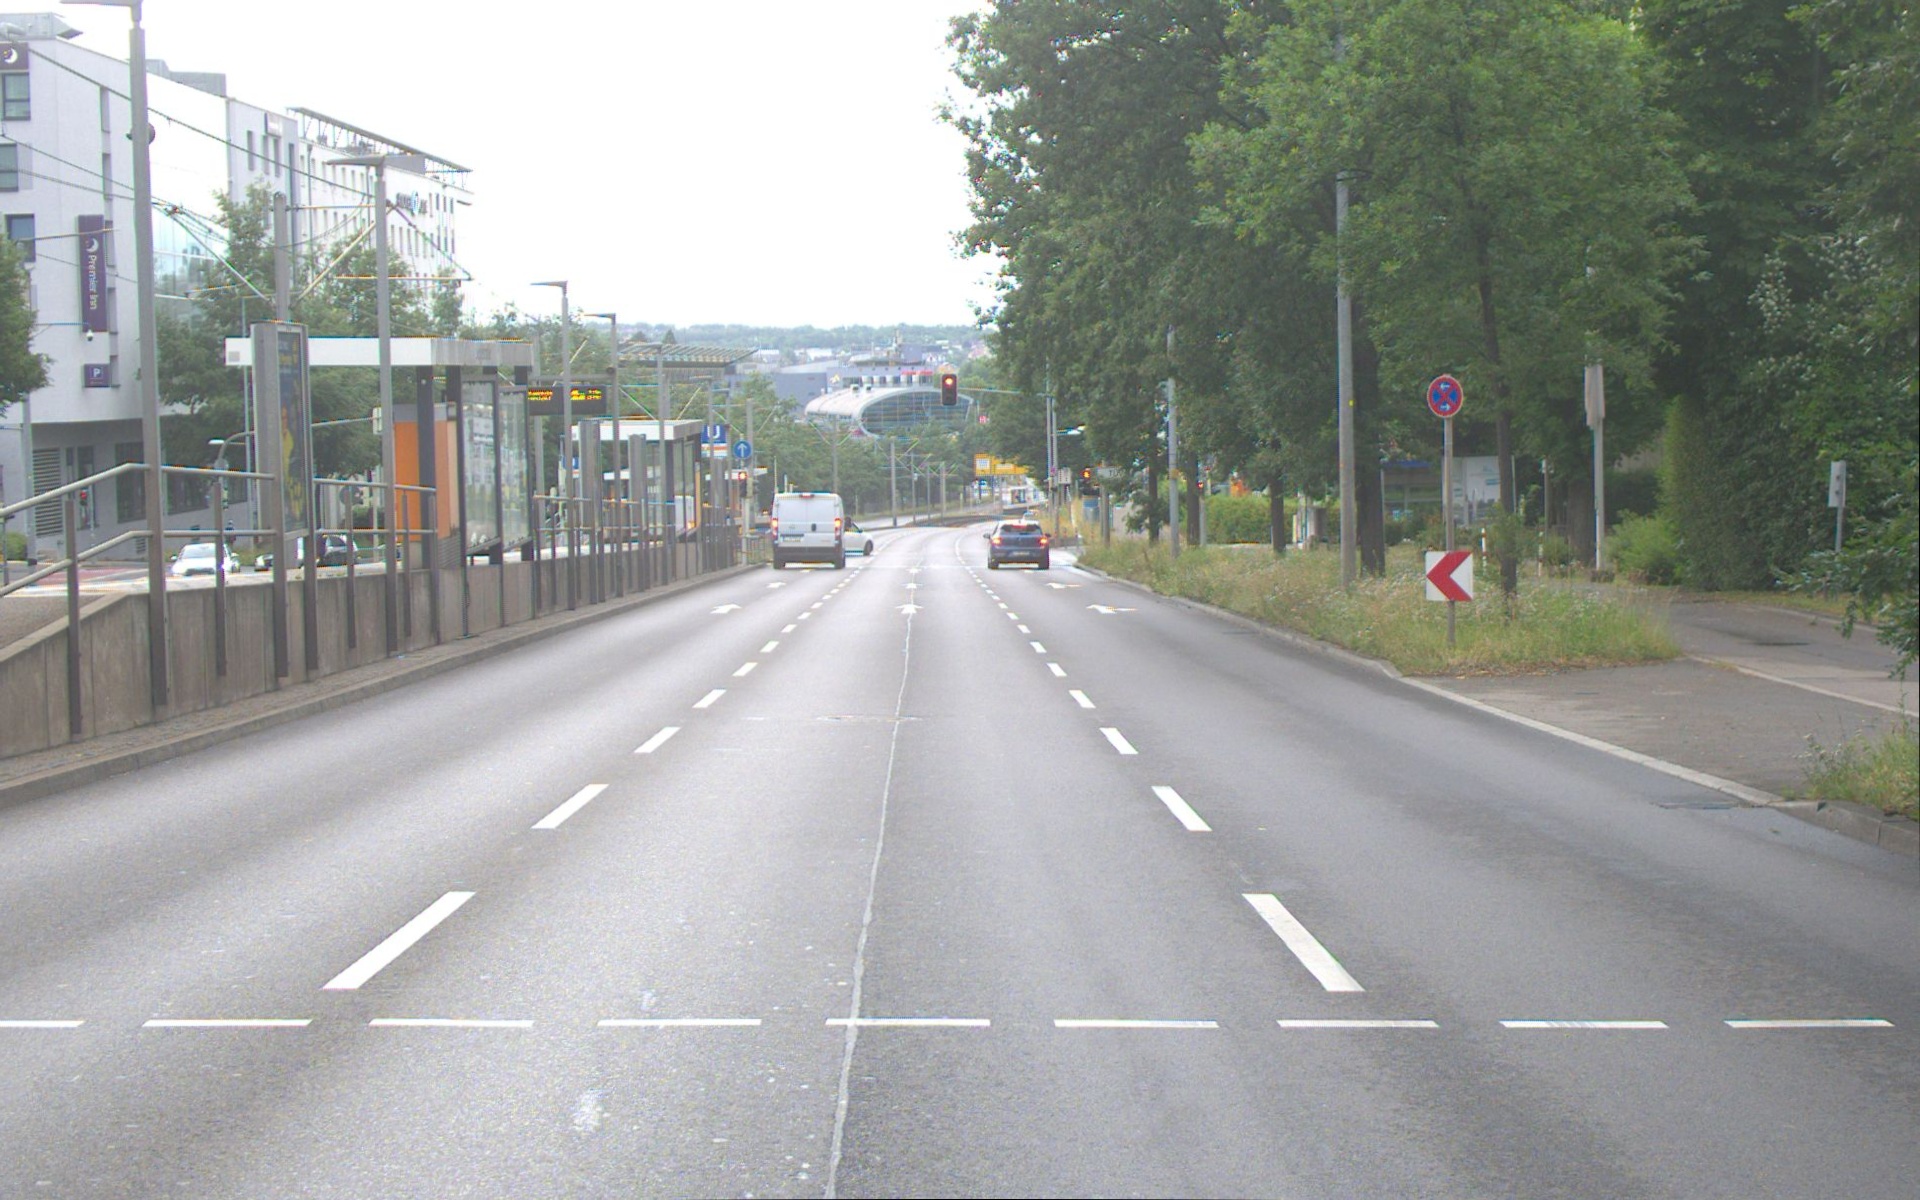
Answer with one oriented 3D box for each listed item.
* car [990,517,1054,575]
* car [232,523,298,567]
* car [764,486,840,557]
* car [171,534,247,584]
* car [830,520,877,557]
[{"bbox_3d":[1.832,-1.635,102.781,1.774,1.685,3.846,0,1,-1],"label":"car"},{"bbox_3d":[-22.594,-1.799,111.801,1.567,1.374,3.519,0,2,-2],"label":"car"},{"bbox_3d":[-4.681,-2.344,102.458,2.093,2.046,4.607,0,1,-1],"label":"car"},{"bbox_3d":[-22.918,-1.268,105.052,1.650,1.431,3.880,-3,1,-4],"label":"car"},{"bbox_3d":[-4.128,-2.412,133.565,1.783,1.385,4.000,0,1,-1],"label":"car"}]
